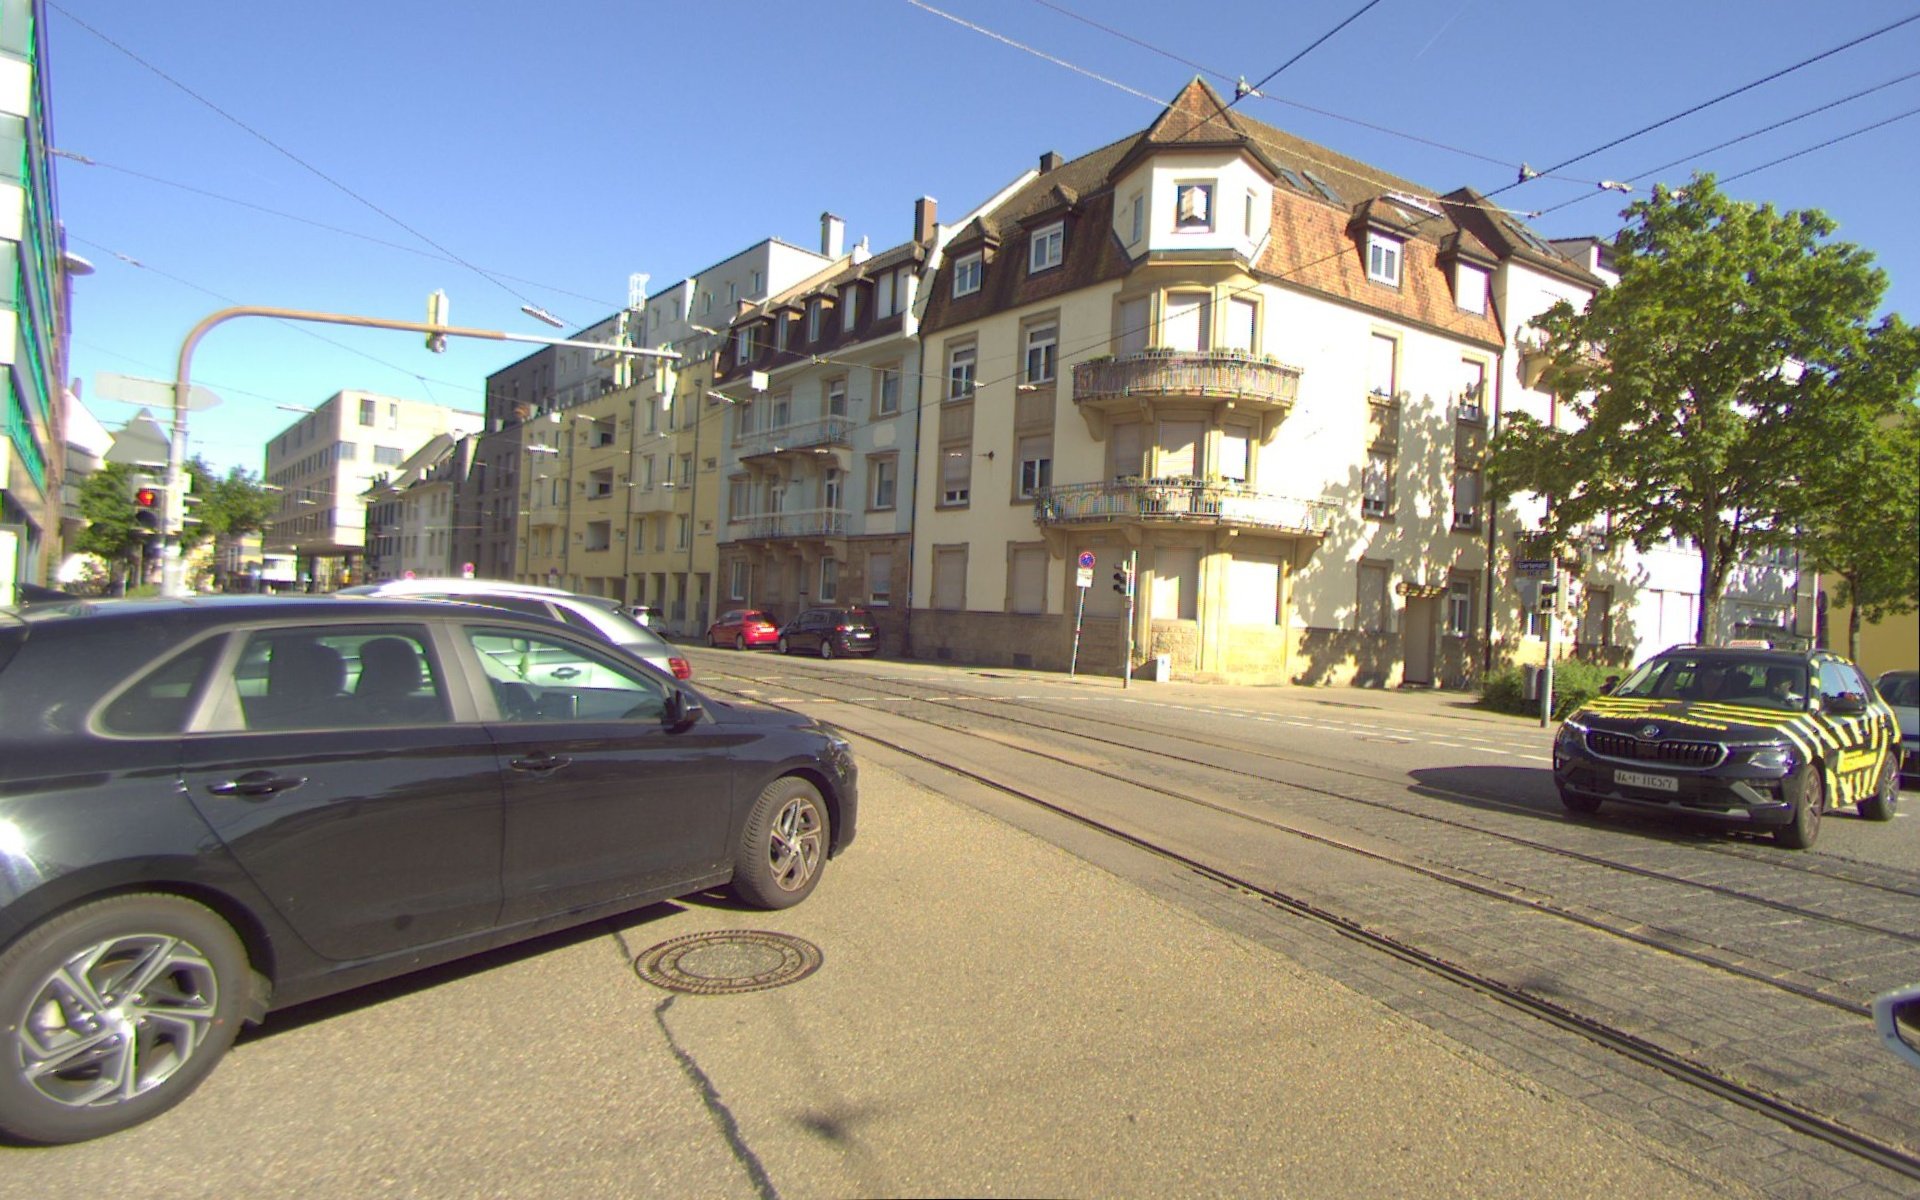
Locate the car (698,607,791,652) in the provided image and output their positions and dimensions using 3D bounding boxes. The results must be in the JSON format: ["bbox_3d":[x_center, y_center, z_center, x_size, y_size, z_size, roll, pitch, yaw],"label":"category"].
[{"bbox_3d":[-8.250,1.099,38.316,1.884,1.561,3.845,2,0,-40],"label":"car"}]

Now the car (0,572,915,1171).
[{"bbox_3d":[-2.203,0.728,4.266,1.777,1.470,4.313,0,-2,34],"label":"car"}]

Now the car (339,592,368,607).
[{"bbox_3d":[-56.544,-0.063,93.598,1.788,1.347,3.670,2,0,-39],"label":"car"}]

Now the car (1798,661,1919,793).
[{"bbox_3d":[12.623,1.597,12.938,3.809,1.471,1.698,3,-1,-32],"label":"car"}]

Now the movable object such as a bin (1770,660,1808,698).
[{"bbox_3d":[22.405,2.133,27.163,0.629,0.989,0.513,3,0,-20],"label":"movable object such as a bin"}]

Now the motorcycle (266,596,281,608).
[{"bbox_3d":[-76.444,0.236,111.890,0.911,1.249,2.727,3,-1,-44],"label":"motorcycle"}]

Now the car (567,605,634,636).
[{"bbox_3d":[-17.530,0.967,48.884,1.948,1.381,3.798,2,0,-39],"label":"car"}]

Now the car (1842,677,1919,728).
[{"bbox_3d":[32.636,3.552,33.979,3.815,1.530,1.826,3,-1,28],"label":"car"}]

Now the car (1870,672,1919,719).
[{"bbox_3d":[35.103,3.495,35.633,3.816,1.530,1.826,3,-1,29],"label":"car"}]

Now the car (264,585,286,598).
[{"bbox_3d":[-77.138,-1.004,113.108,1.788,1.381,3.670,2,0,-39],"label":"car"}]

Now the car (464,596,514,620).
[{"bbox_3d":[-29.439,0.464,62.769,1.948,1.381,3.798,2,0,-39],"label":"car"}]

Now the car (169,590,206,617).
[{"bbox_3d":[-51.793,0.214,67.342,1.767,1.623,3.953,3,-1,-40],"label":"car"}]

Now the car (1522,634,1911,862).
[{"bbox_3d":[6.906,1.163,9.031,4.080,1.533,1.774,3,-1,-38],"label":"car"}]

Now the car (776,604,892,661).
[{"bbox_3d":[-4.291,1.056,33.840,1.947,1.747,4.125,2,0,-40],"label":"car"}]

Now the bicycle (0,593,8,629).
[{"bbox_3d":[-27.903,0.261,27.986,1.879,0.994,0.483,4,-1,-33],"label":"bicycle"}]

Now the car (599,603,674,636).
[{"bbox_3d":[-14.706,0.862,45.511,1.983,1.381,3.798,2,0,-39],"label":"car"}]

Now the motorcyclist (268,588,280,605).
[{"bbox_3d":[-76.409,-0.382,111.882,1.041,1.894,0.937,2,-1,45],"label":"motorcyclist"}]

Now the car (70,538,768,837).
[{"bbox_3d":[-3.739,0.561,7.478,4.111,1.631,1.870,3,-1,-38],"label":"car"}]

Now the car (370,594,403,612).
[{"bbox_3d":[-46.891,0.253,82.141,1.788,1.381,3.670,2,0,-39],"label":"car"}]
